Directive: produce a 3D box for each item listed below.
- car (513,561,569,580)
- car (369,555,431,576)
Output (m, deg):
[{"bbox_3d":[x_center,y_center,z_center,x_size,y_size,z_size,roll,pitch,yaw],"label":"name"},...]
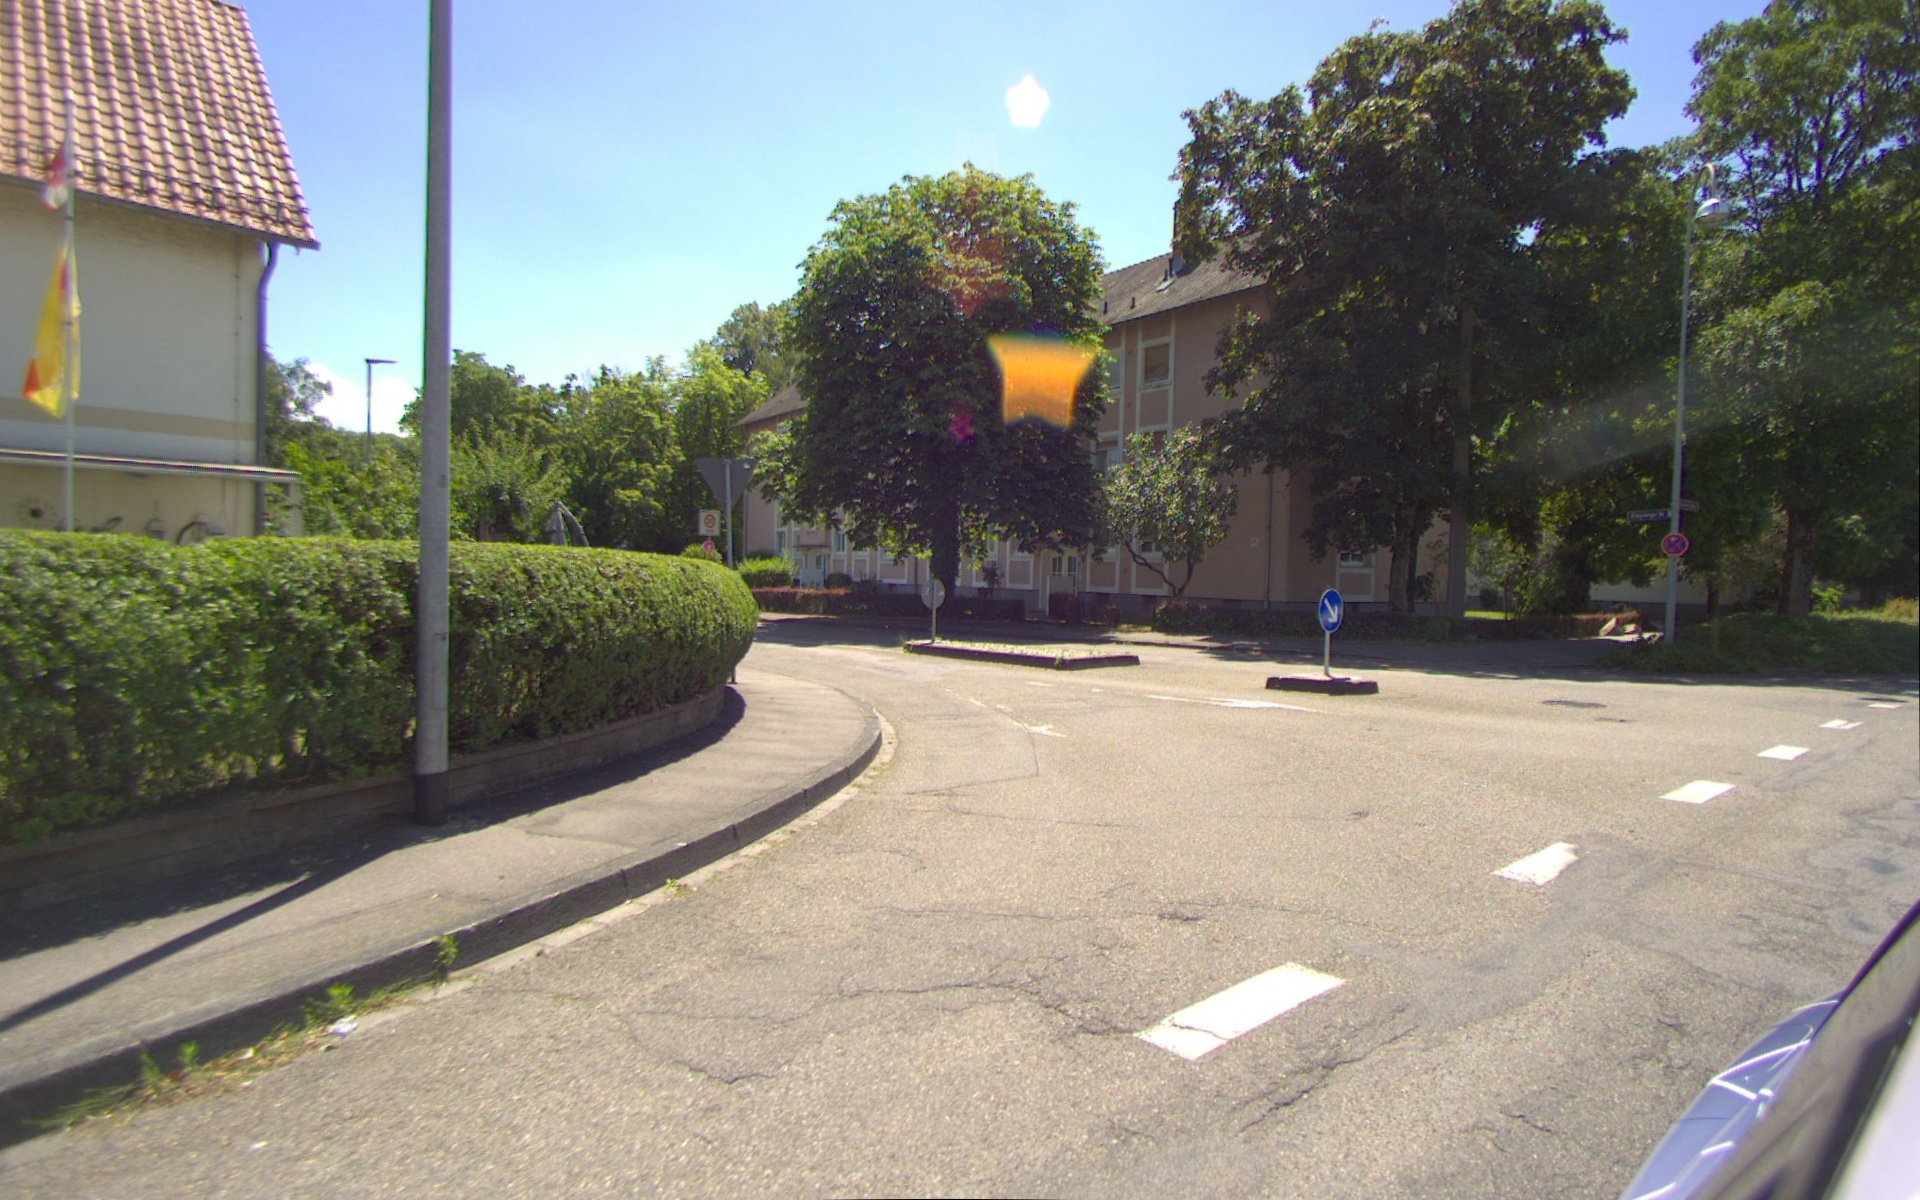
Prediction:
[{"bbox_3d":[-32.846,-2.326,79.330,3.777,1.456,1.711,0,2,-32],"label":"car"},{"bbox_3d":[-41.184,-2.528,74.480,3.772,1.456,1.713,0,2,-19],"label":"car"}]
